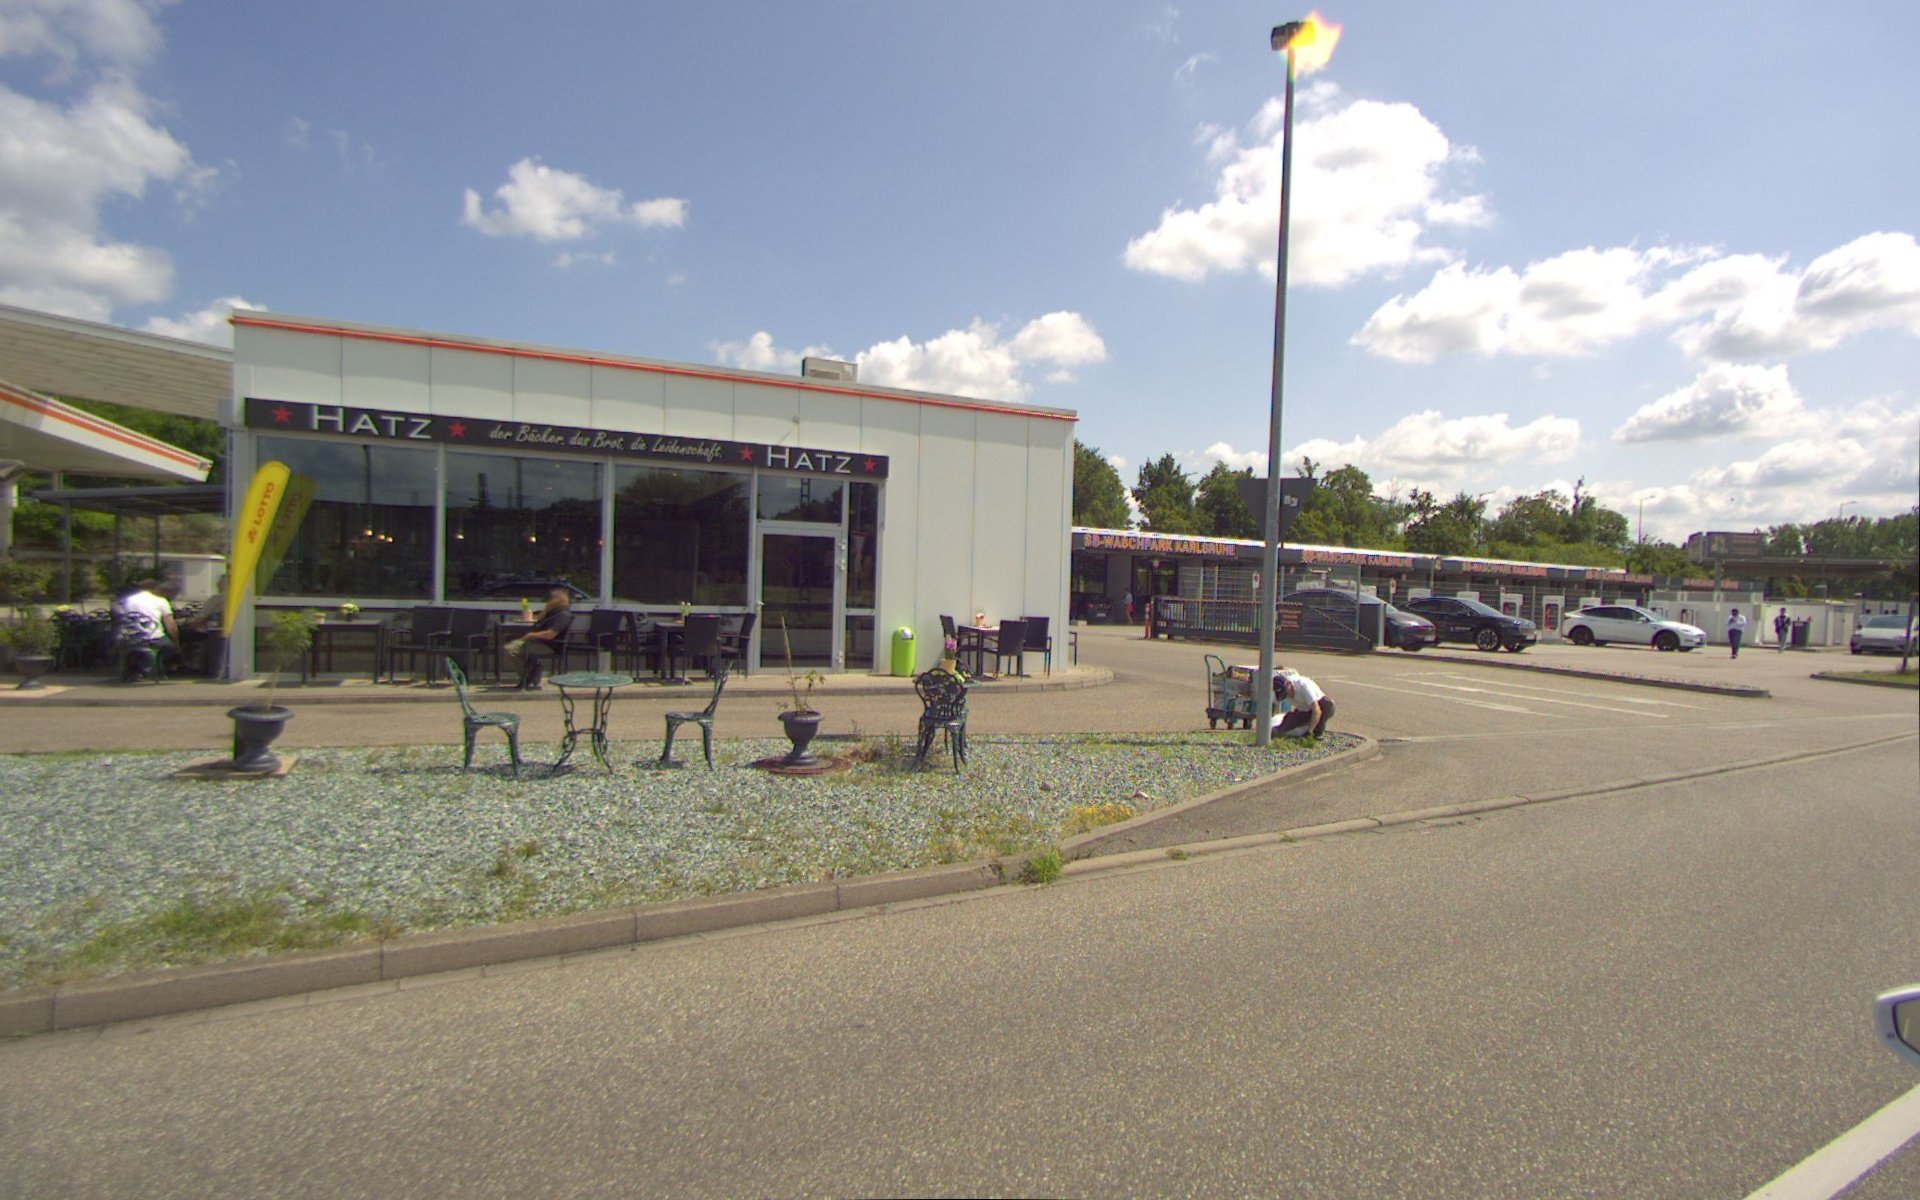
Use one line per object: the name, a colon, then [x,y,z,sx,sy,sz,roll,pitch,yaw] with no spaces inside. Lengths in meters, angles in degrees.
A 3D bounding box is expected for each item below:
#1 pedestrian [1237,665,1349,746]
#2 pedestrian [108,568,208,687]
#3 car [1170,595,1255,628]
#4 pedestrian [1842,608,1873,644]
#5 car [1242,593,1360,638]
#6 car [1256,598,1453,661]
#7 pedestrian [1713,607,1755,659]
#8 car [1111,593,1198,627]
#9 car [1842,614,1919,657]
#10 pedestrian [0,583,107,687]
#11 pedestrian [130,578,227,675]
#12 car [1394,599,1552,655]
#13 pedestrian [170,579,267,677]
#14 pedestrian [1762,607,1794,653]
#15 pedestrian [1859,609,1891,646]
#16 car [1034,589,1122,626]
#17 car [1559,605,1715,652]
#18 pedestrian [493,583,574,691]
pedestrian: [3.690,1.148,11.159,0.807,0.770,0.859,1,1,-27]
pedestrian: [-9.453,0.305,11.838,0.859,1.325,0.929,1,1,-42]
car: [13.177,0.608,52.617,1.980,1.583,3.961,2,0,-34]
pedestrian: [40.523,1.154,45.335,0.699,1.586,0.759,2,0,7]
car: [12.808,0.579,37.674,4.252,1.502,1.905,2,1,-32]
car: [11.047,0.782,28.442,2.217,1.475,4.710,1,1,-37]
pedestrian: [25.807,1.105,33.504,0.932,1.675,0.856,1,1,-37]
car: [9.579,0.474,49.690,1.980,1.583,3.961,2,0,-34]
car: [38.604,1.442,41.679,4.726,1.538,1.918,0,2,-35]
pedestrian: [-10.311,0.386,11.404,0.745,1.126,0.816,1,1,-25]
pedestrian: [-9.978,0.328,12.845,0.741,1.189,0.617,2,1,-3]
car: [16.161,0.820,31.811,1.980,1.539,3.960,2,1,-35]
pedestrian: [-9.348,0.338,12.684,0.741,1.189,0.617,2,1,-3]
pedestrian: [32.807,1.186,40.291,0.722,1.775,0.854,1,1,-42]
pedestrian: [40.480,1.216,44.455,0.707,1.600,0.714,2,0,4]
car: [5.502,0.326,47.135,1.980,1.583,3.961,2,0,-34]
car: [25.725,1.053,38.329,1.982,1.544,4.518,2,1,-37]
pedestrian: [-5.316,0.448,12.535,0.886,1.273,0.751,1,1,-24]
